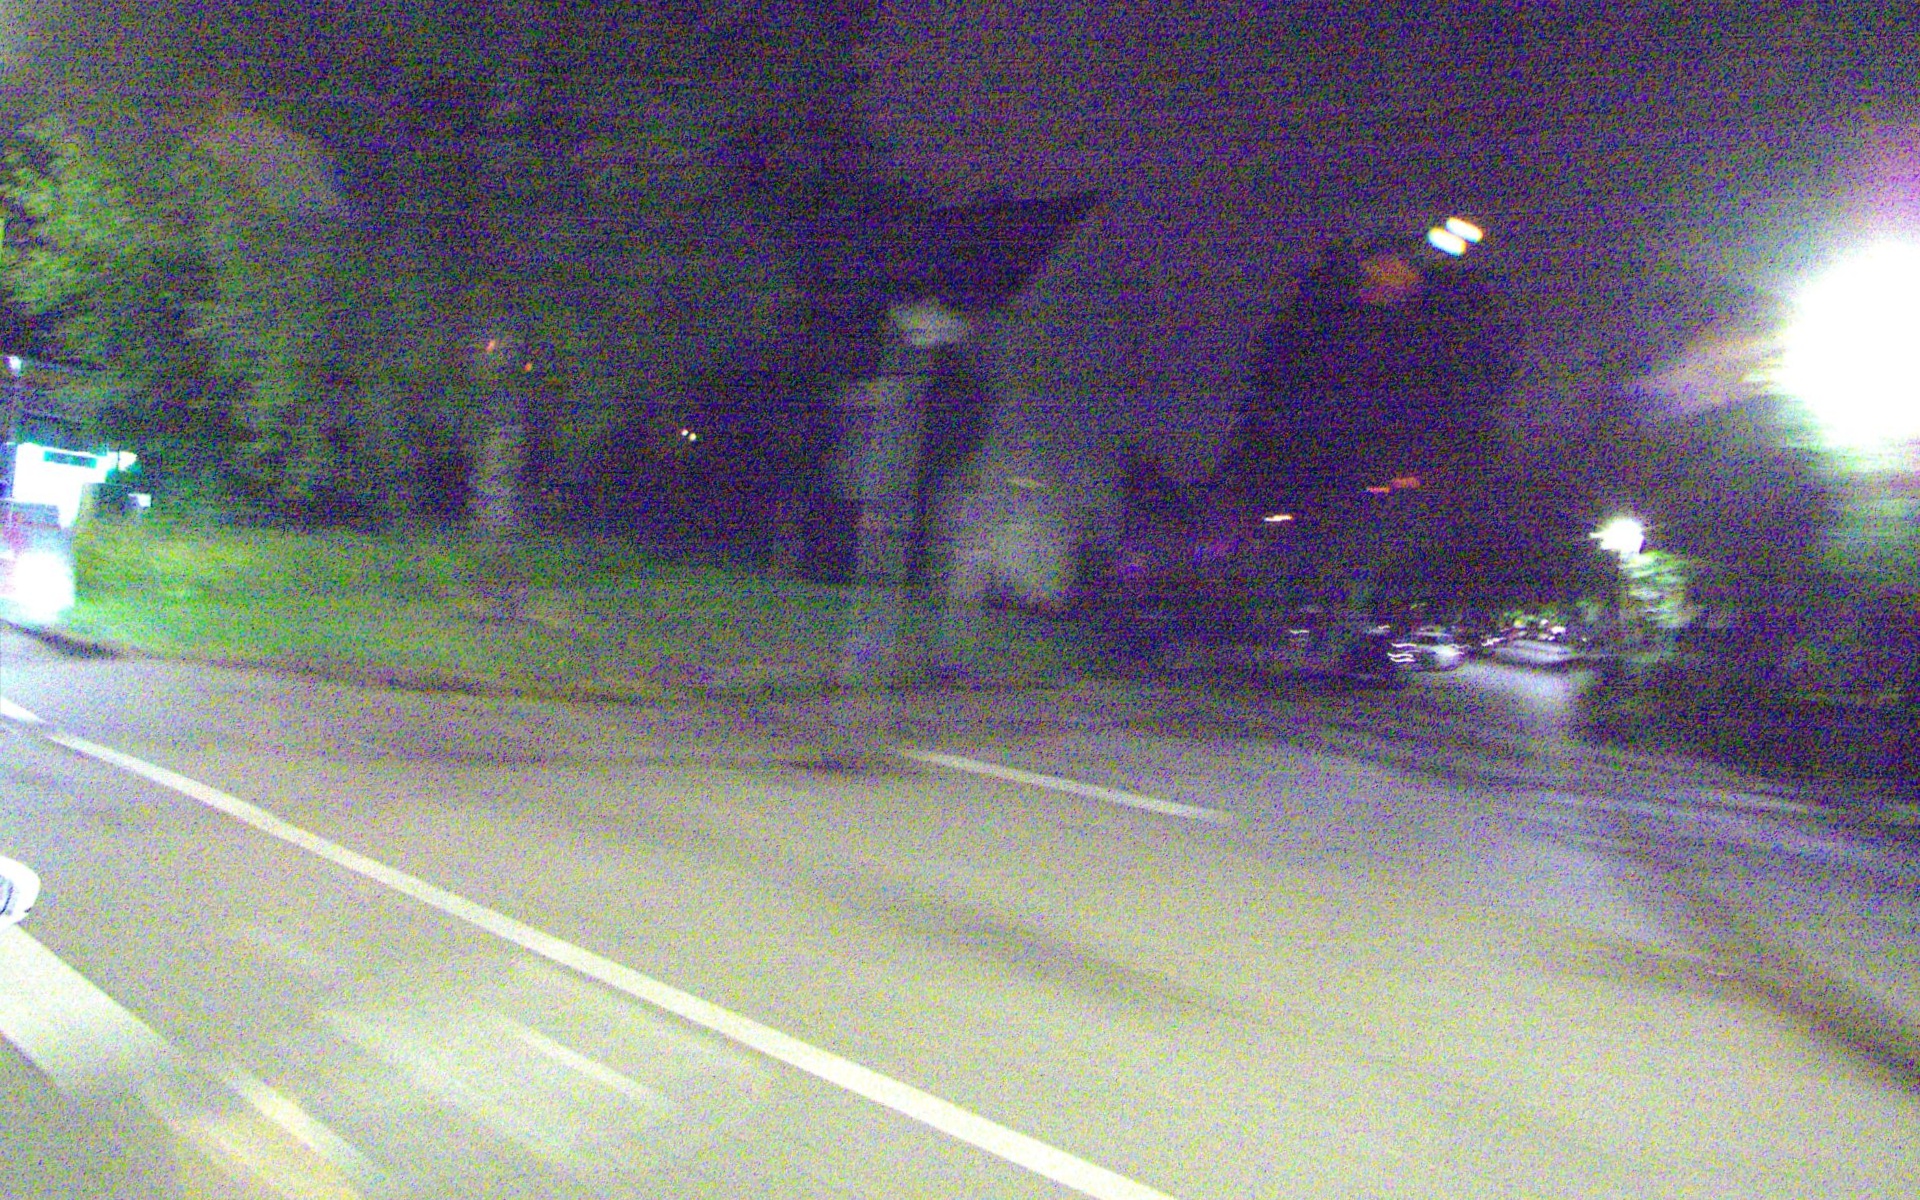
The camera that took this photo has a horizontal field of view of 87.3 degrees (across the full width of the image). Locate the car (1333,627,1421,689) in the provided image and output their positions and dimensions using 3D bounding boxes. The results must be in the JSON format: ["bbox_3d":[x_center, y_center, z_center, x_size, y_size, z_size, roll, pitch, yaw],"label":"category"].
[{"bbox_3d":[12.113,1.660,29.108,1.720,1.491,3.776,6,1,31],"label":"car"}]

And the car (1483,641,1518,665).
[{"bbox_3d":[44.416,4.357,82.593,1.968,1.616,3.987,7,1,34],"label":"car"}]

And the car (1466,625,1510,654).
[{"bbox_3d":[34.785,2.615,66.247,1.968,1.616,3.987,7,1,34],"label":"car"}]

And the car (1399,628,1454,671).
[{"bbox_3d":[19.114,2.026,41.175,1.818,1.449,3.994,7,1,26],"label":"car"}]

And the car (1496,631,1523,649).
[{"bbox_3d":[57.972,4.240,106.167,1.968,1.616,3.987,7,1,34],"label":"car"}]

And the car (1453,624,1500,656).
[{"bbox_3d":[31.889,2.490,62.075,1.968,1.616,3.987,7,1,34],"label":"car"}]
